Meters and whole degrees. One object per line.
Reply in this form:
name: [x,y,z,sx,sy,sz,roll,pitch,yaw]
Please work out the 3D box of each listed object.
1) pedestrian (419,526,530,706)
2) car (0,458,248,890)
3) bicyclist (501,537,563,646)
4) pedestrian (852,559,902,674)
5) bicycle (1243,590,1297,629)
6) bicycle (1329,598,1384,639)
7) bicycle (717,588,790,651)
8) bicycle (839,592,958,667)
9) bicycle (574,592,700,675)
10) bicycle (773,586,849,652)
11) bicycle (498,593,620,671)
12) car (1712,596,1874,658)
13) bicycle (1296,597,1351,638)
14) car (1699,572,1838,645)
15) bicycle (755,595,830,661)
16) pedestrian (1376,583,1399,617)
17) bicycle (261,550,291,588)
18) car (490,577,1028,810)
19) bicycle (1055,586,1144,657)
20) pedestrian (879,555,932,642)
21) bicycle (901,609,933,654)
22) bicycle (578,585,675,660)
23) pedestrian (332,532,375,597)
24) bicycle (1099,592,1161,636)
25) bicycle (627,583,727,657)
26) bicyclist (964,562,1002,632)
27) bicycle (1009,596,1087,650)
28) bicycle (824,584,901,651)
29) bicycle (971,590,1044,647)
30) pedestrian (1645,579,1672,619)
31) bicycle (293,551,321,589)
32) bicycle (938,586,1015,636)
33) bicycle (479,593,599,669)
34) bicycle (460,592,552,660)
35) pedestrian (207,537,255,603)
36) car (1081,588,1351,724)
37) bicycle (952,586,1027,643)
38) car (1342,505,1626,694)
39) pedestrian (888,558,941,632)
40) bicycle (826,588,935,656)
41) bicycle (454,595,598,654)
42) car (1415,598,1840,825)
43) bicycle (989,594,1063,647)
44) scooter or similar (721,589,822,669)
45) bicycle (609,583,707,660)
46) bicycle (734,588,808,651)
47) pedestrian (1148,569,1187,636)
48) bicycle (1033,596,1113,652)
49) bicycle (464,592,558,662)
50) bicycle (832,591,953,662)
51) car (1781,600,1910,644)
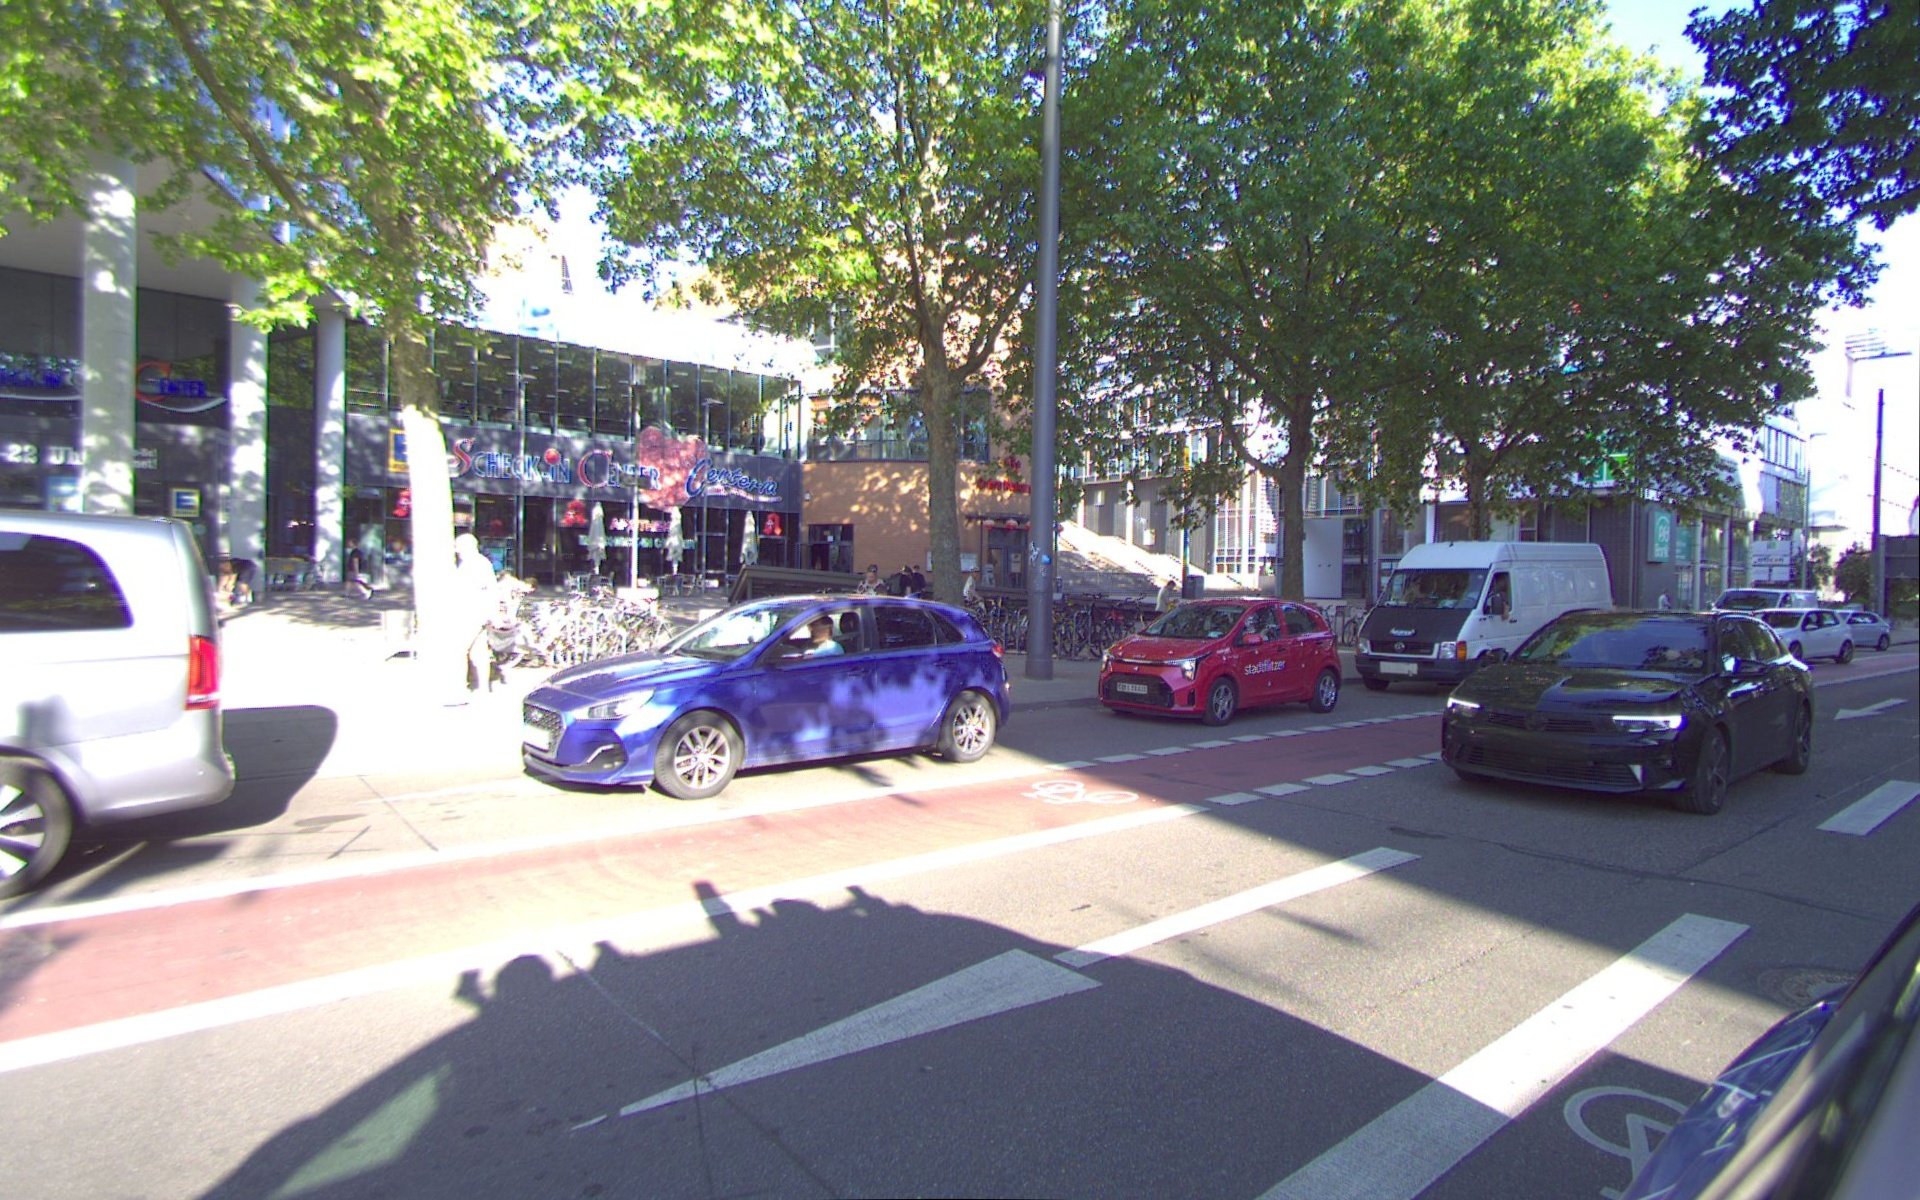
pedestrian: [-5.166,0.148,10.769,0.872,1.808,0.796,2,1,43]
car: [-6.264,0.338,4.389,5.047,1.991,1.997,0,0,-41]
bicyclist: [-7.197,-0.142,17.053,0.834,1.789,0.754,1,1,-13]
pedestrian: [-1.341,0.251,16.255,0.644,1.808,0.810,1,1,-14]
bicycle: [8.774,0.252,28.618,1.624,1.060,0.597,0,1,-37]
bicycle: [10.683,0.491,27.266,1.624,1.060,0.597,0,1,-37]
bicycle: [-4.052,0.365,19.916,0.420,1.174,1.455,2,1,41]
bicycle: [-0.975,0.464,16.022,1.788,1.130,0.598,1,1,-13]
bicycle: [-4.463,0.440,14.012,1.542,1.070,0.630,0,1,-35]
bicycle: [-2.758,0.336,18.802,0.420,1.174,1.455,2,1,41]
bicycle: [-5.666,0.430,14.370,1.546,1.038,0.461,0,2,-43]
car: [21.807,0.687,26.493,3.788,1.482,1.676,1,1,-23]
bicycle: [9.965,0.471,27.719,1.624,1.060,0.597,0,1,-37]
car: [26.264,0.245,32.833,5.189,2.160,2.130,0,2,-35]
bicycle: [-3.159,0.509,19.194,0.420,1.174,1.455,2,1,41]
pedestrian: [18.945,0.002,44.824,0.589,1.474,0.713,1,1,-37]
bicycle: [-21.399,-0.982,31.679,0.705,1.142,1.921,1,2,-32]
car: [-1.527,0.585,8.575,4.143,1.482,1.768,0,2,-41]
bicycle: [2.674,0.394,19.338,1.843,1.280,0.596,0,1,-41]
pedestrian: [-1.130,-0.043,21.030,0.756,1.779,0.820,0,1,-35]
bicycle: [-0.803,0.571,18.734,0.391,0.770,1.114,1,1,-13]
bicycle: [-5.468,0.348,16.643,1.450,1.174,0.421,0,1,-40]
pedestrian: [-17.866,-1.049,29.837,0.834,1.866,1.002,1,1,-15]
bicycle: [4.554,0.361,27.026,1.622,1.140,0.598,0,1,-32]
bicycle: [-4.379,0.299,15.709,1.451,1.095,0.421,0,1,-42]
bicyclist: [0.539,-0.071,24.005,0.805,1.636,0.565,1,1,-7]
bicycle: [1.781,0.444,20.418,1.626,1.044,0.596,0,1,-41]
bicycle: [-1.772,0.300,18.459,0.478,1.174,1.455,2,1,41]
bicycle: [1.014,0.378,21.371,1.626,1.151,0.503,0,1,-41]
pedestrian: [30.181,-0.030,43.721,0.529,1.697,0.724,1,1,-19]
bicycle: [-20.721,-0.961,32.120,0.705,1.142,1.921,1,2,-32]
bicycle: [0.378,0.257,23.993,1.742,1.140,0.568,1,1,-7]
bicycle: [-6.116,0.431,14.750,1.546,1.038,0.461,0,2,-43]
bicycle: [-7.158,0.403,15.981,1.293,1.038,0.397,1,1,-24]
pedestrian: [-18.872,-0.766,26.194,0.951,1.661,0.865,0,1,-41]
car: [3.310,0.598,12.793,3.558,1.482,1.561,0,1,-41]
bicycle: [0.643,0.298,21.757,1.662,1.174,0.479,0,1,-37]
car: [9.278,-0.010,17.583,6.443,2.759,1.998,0,0,-39]
pedestrian: [-1.122,-0.142,24.920,1.000,1.779,0.789,0,1,-35]
bicycle: [-1.382,0.380,17.499,1.788,1.130,0.598,1,1,-13]
bicycle: [-7.266,0.404,17.042,2.138,0.945,0.669,1,1,-13]
car: [5.748,0.704,8.509,4.268,1.443,1.826,0,0,-40]
bicycle: [1.384,0.413,20.932,1.626,1.044,0.503,0,1,-41]
scooter or similar: [-2.926,0.440,15.716,1.249,1.156,0.905,-2,0,37]
bicycle: [-4.844,0.331,16.285,1.451,1.174,0.421,0,1,-42]
bicycle: [-3.643,0.358,19.561,0.420,1.174,1.455,2,1,41]
pedestrian: [5.277,0.055,25.730,0.623,1.651,0.719,1,1,-34]
bicycle: [2.232,0.447,19.862,1.626,1.044,0.596,0,1,-41]
bicycle: [-6.888,0.402,15.539,1.293,1.038,0.397,1,1,-24]
bicycle: [-1.121,0.435,16.718,1.908,1.130,0.598,1,1,-13]
car: [31.509,0.774,36.018,3.937,1.437,1.791,1,1,-21]
